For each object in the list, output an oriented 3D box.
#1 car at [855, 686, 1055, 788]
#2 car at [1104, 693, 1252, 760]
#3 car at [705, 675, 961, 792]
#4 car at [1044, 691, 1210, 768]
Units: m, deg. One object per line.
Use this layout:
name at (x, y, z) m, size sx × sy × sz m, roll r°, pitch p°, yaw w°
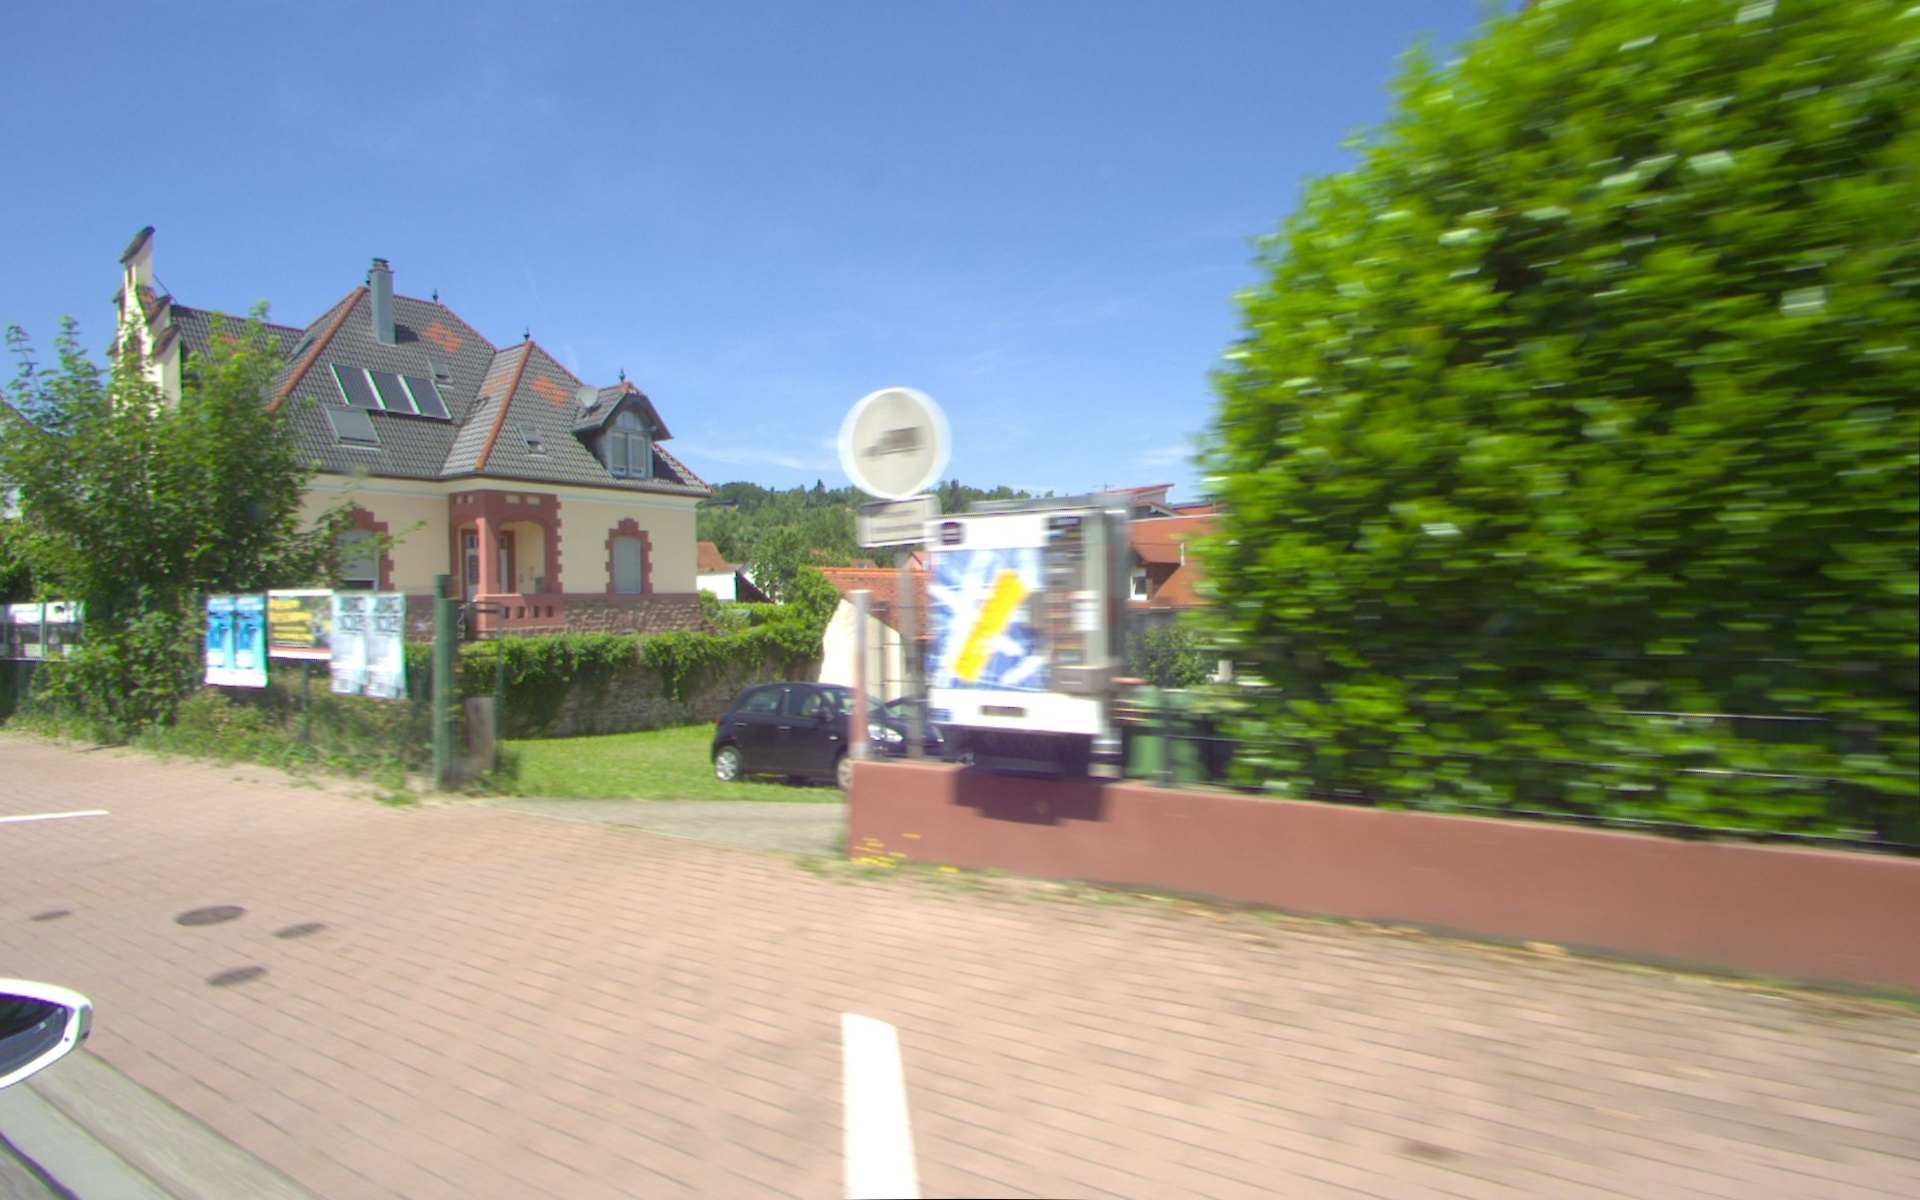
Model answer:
car at (-0.139, 2.182, 16.303) m, size 3.259 × 1.489 × 1.317 m, roll -5°, pitch -9°, yaw 43°
car at (5.237, 3.029, 24.208) m, size 3.248 × 1.490 × 1.321 m, roll -3°, pitch -7°, yaw 35°
car at (-1.879, 1.899, 14.491) m, size 3.524 × 1.488 × 1.491 m, roll -3°, pitch -10°, yaw 35°
car at (3.529, 2.719, 21.347) m, size 3.248 × 1.490 × 1.321 m, roll -3°, pitch -7°, yaw 35°
